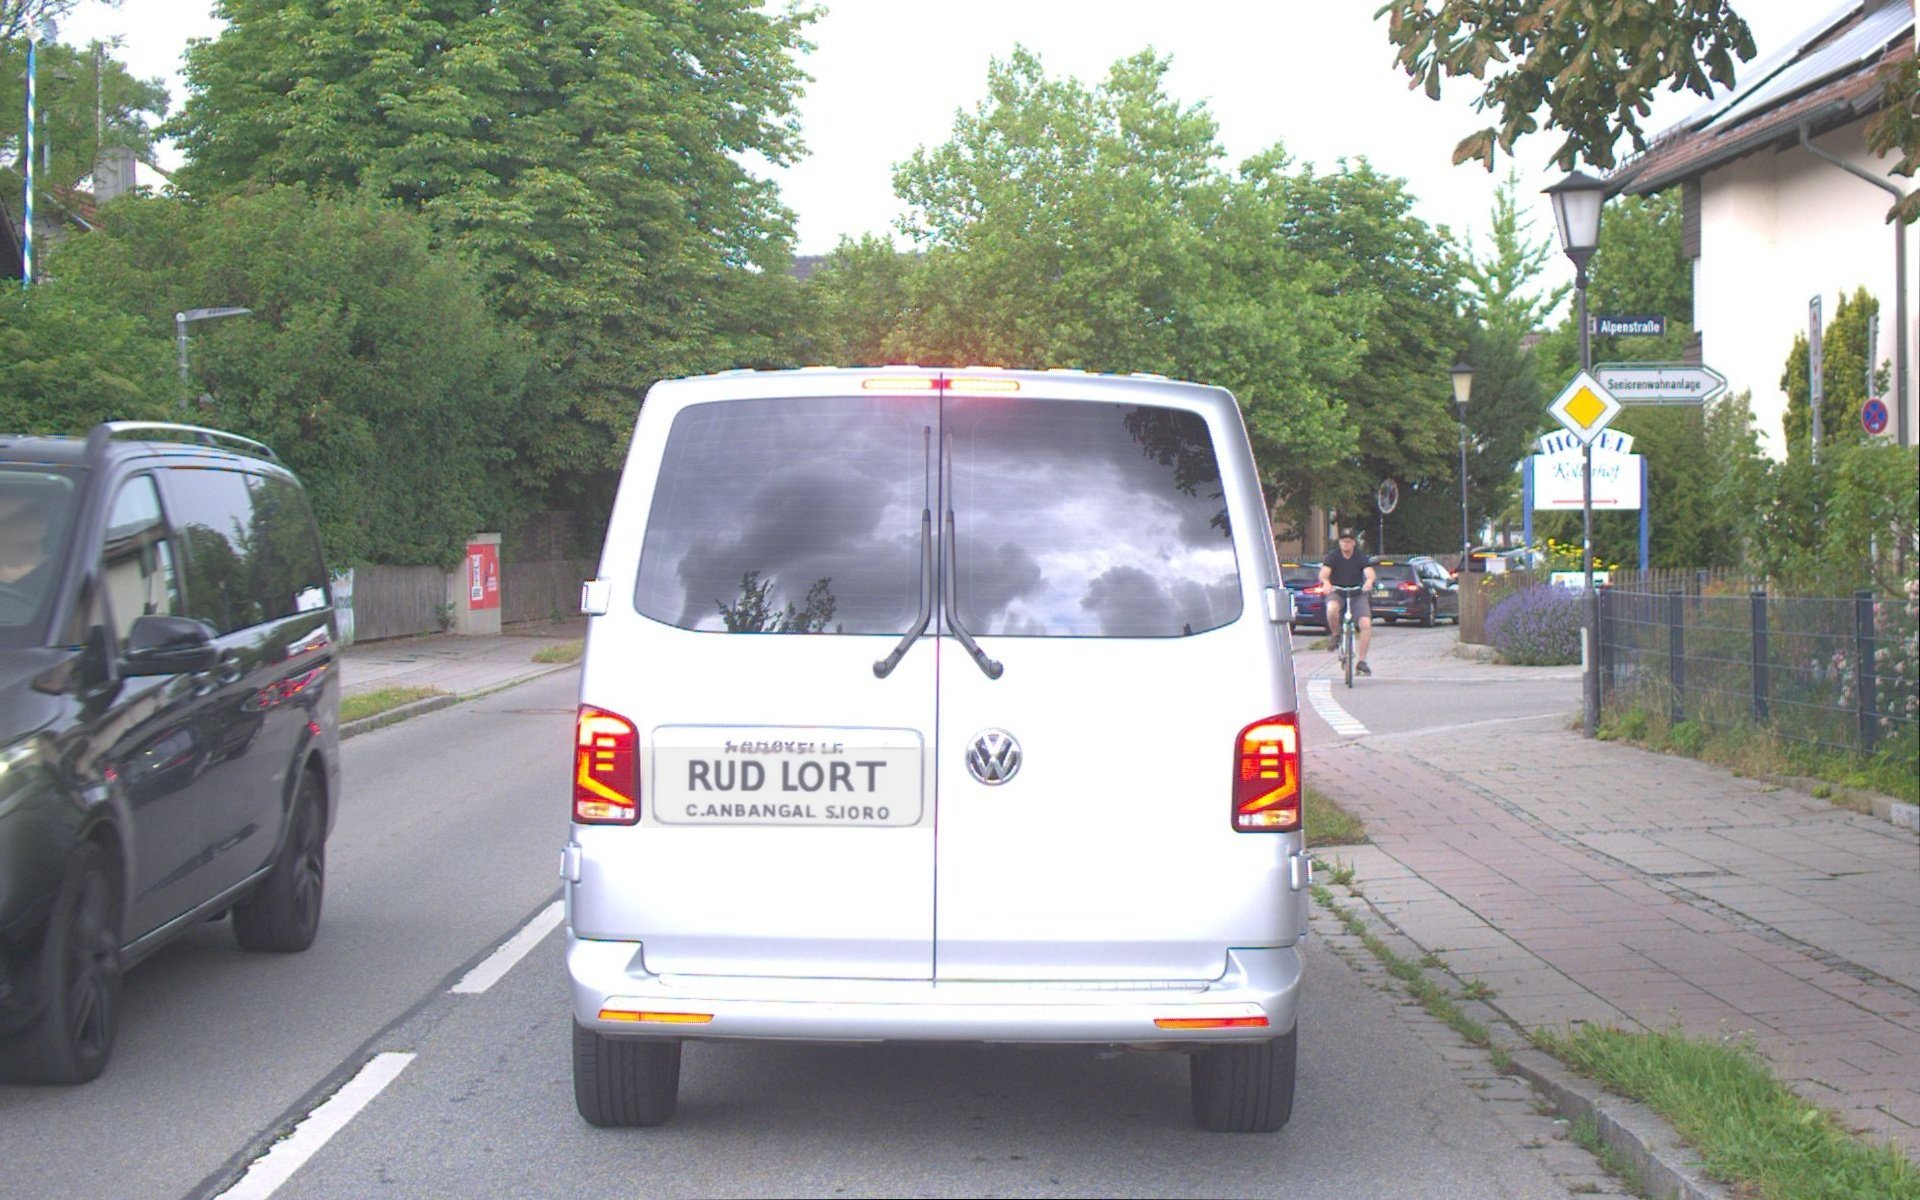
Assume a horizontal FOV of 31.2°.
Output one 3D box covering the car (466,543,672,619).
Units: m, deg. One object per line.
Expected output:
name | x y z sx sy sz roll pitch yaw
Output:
car | -7.759 -0.384 68.020 3.986 1.481 2.001 0 1 -8

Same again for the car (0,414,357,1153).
car | -3.331 0.398 11.052 1.964 1.847 4.948 1 1 -1

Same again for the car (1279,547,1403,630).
car | 7.347 -0.248 66.080 1.882 1.530 3.918 0 1 14

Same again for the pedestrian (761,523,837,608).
pedestrian | -3.441 -0.738 73.580 1.318 1.796 1.069 0 1 -24

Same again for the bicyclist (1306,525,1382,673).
bicyclist | 4.263 -0.016 38.203 0.736 1.627 0.890 -1 1 1

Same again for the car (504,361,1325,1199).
car | -0.088 0.389 9.863 1.881 1.934 3.921 0 1 1

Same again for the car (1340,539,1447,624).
car | 9.243 -0.412 73.096 1.882 1.742 4.078 0 1 12

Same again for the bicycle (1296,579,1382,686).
bicycle | 4.191 0.347 38.160 0.764 1.139 1.845 -1 1 1

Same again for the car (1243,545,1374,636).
car | 6.136 -0.194 60.213 1.882 1.530 3.919 0 1 12
